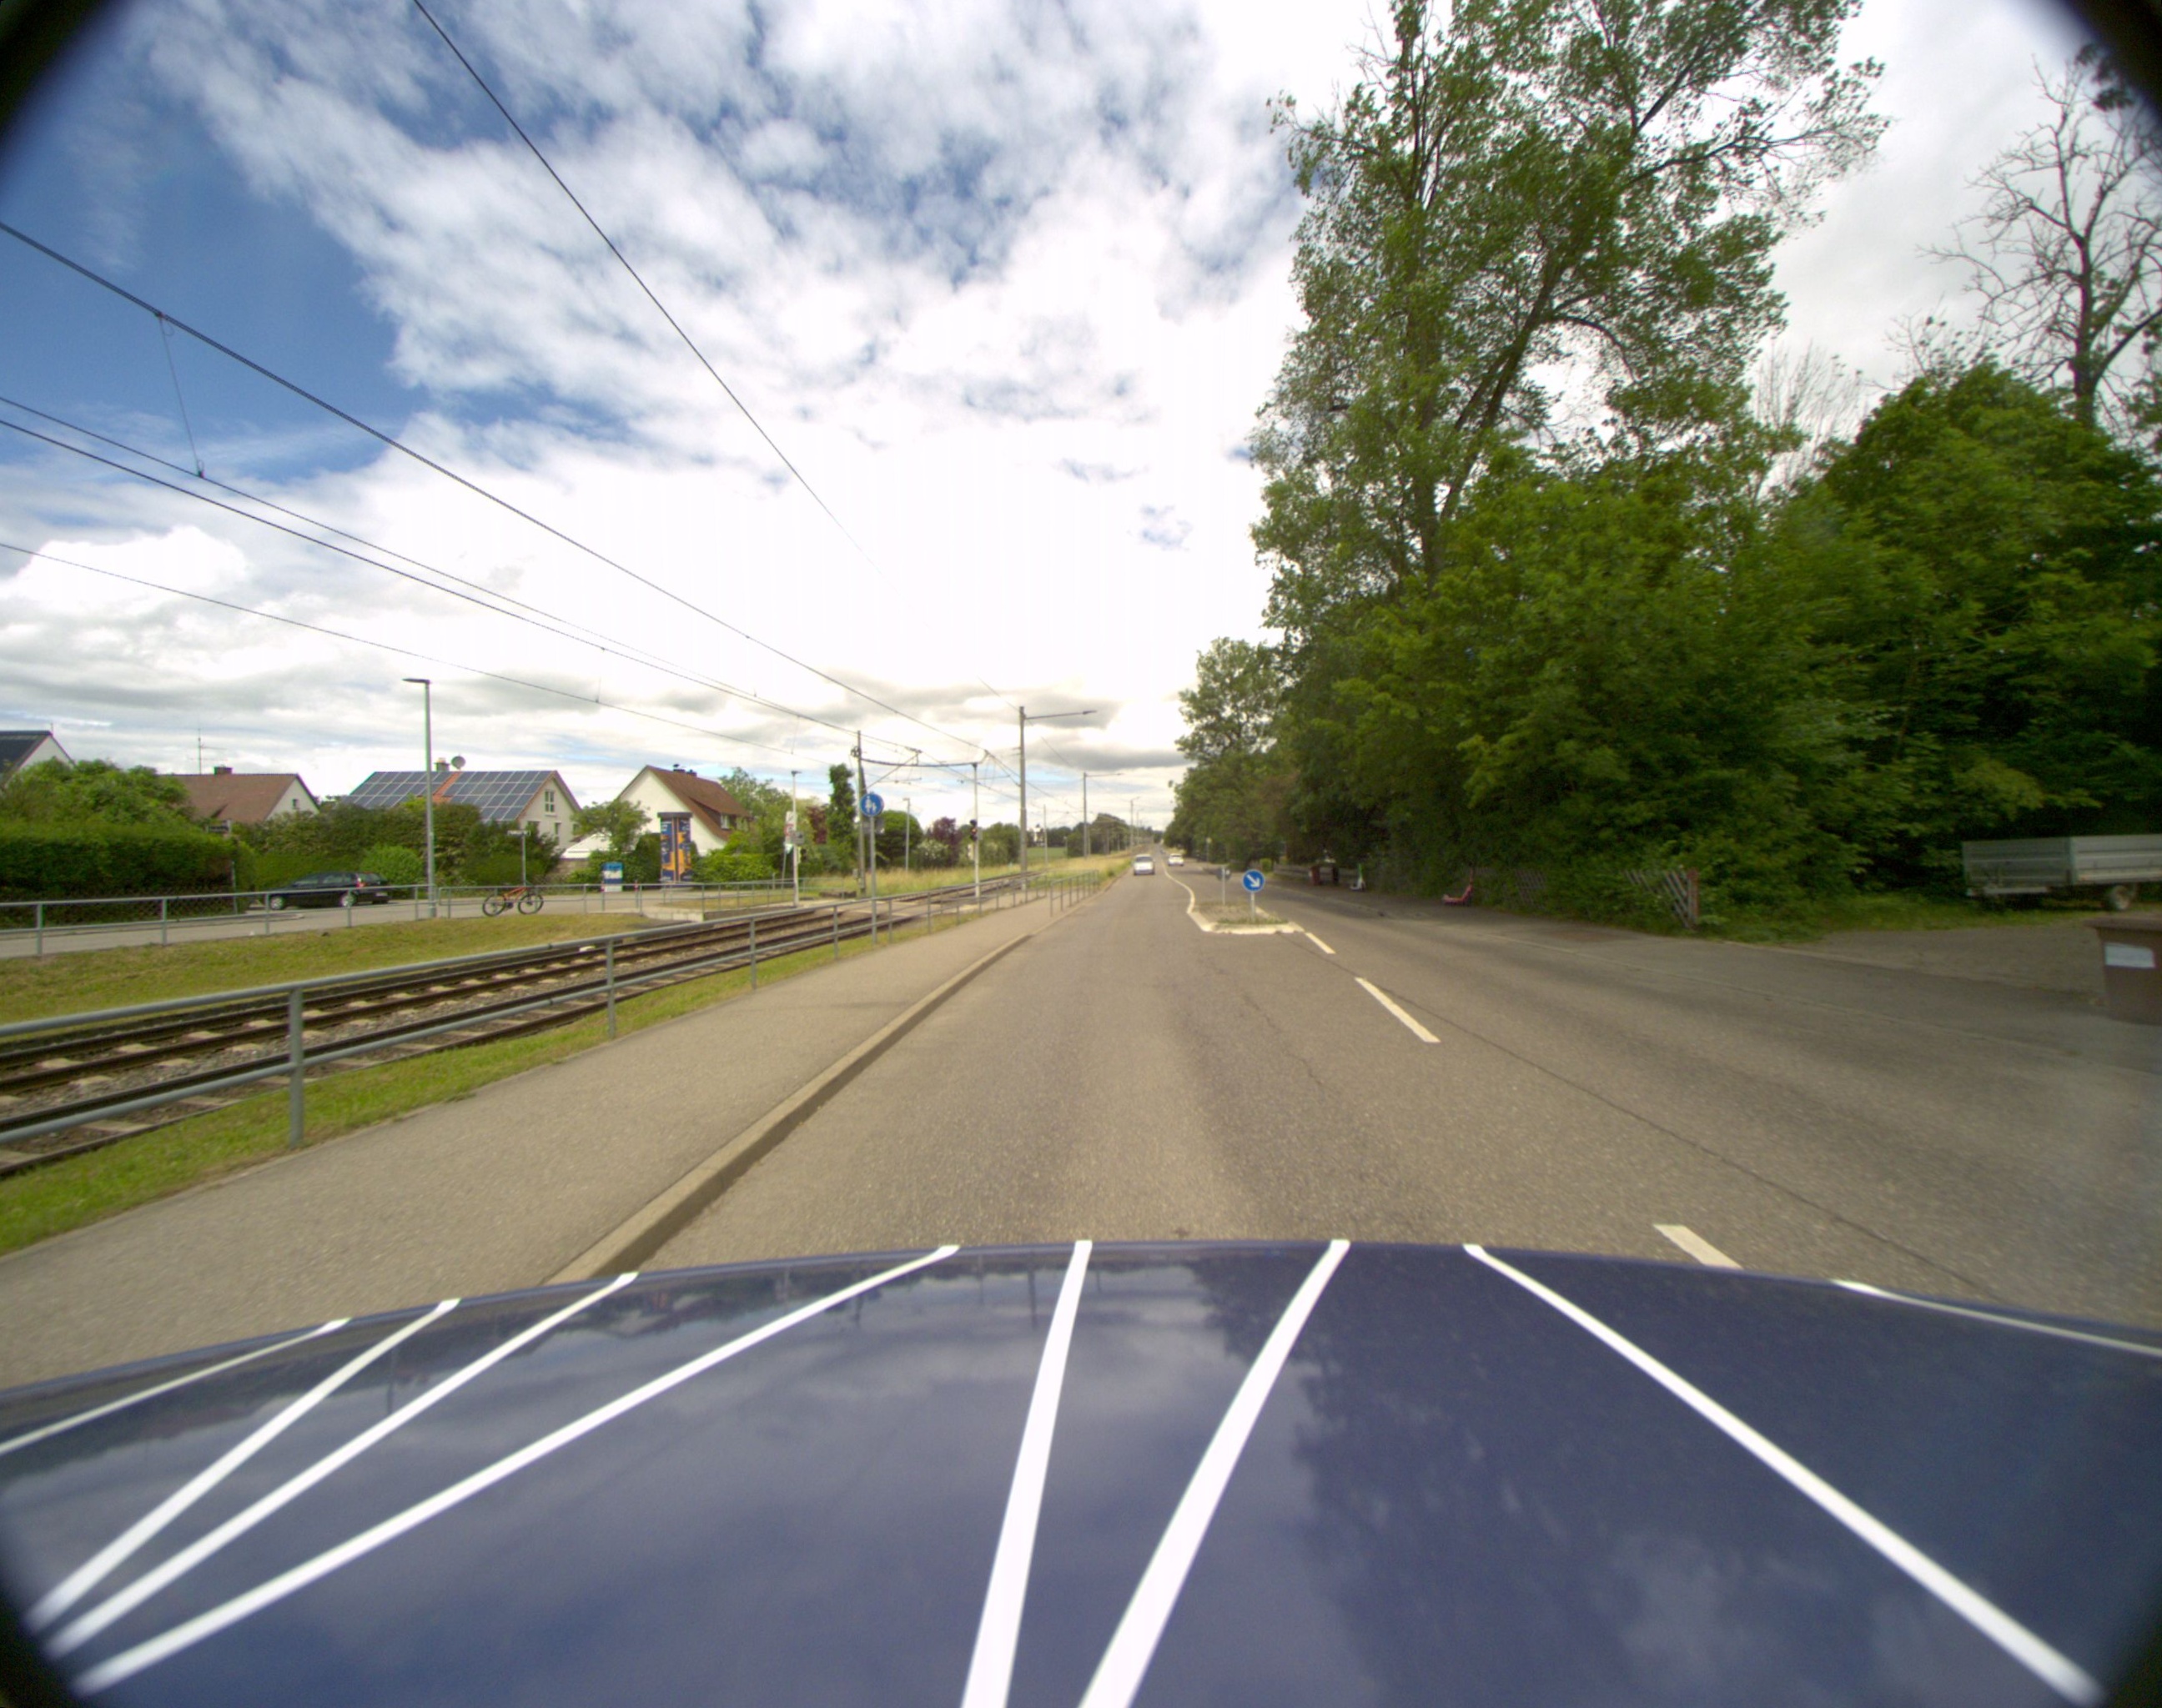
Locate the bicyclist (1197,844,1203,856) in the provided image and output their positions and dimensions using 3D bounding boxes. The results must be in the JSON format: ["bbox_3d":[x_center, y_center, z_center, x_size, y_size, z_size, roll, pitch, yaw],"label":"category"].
[{"bbox_3d":[16.489,-0.551,105.082,0.780,1.540,0.870,-1,1,6],"label":"bicyclist"}]

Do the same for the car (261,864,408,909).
[{"bbox_3d":[-29.421,1.252,30.054,3.731,1.614,1.824,-1,1,-8],"label":"car"}]

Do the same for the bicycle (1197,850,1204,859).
[{"bbox_3d":[16.508,0.032,104.754,0.756,1.219,2.309,0,1,6],"label":"bicycle"}]

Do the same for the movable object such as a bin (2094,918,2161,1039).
[{"bbox_3d":[9.062,1.044,6.420,0.464,0.925,0.429,-5,2,-11],"label":"movable object such as a bin"}]

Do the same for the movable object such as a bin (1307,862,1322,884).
[{"bbox_3d":[10.439,0.836,33.968,0.514,0.939,0.569,-2,1,5],"label":"movable object such as a bin"}]

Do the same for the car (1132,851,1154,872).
[{"bbox_3d":[5.001,0.565,60.920,1.642,1.510,3.870,-3,1,6],"label":"car"}]

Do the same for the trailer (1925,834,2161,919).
[{"bbox_3d":[18.773,0.392,14.746,3.519,1.434,1.732,-2,1,-14],"label":"trailer"}]

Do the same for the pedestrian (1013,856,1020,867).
[{"bbox_3d":[-8.732,0.987,102.699,0.598,1.422,0.667,-3,1,31],"label":"pedestrian"}]

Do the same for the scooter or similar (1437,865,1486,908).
[{"bbox_3d":[10.096,0.846,20.205,0.479,1.074,1.212,-3,1,-13],"label":"scooter or similar"}]

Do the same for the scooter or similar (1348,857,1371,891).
[{"bbox_3d":[10.427,0.729,28.453,0.409,1.192,1.640,-1,1,7],"label":"scooter or similar"}]

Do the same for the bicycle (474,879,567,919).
[{"bbox_3d":[-16.277,1.273,22.158,0.539,1.039,2.541,3,0,7],"label":"bicycle"}]

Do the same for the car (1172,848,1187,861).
[{"bbox_3d":[11.660,0.031,90.129,1.697,1.422,3.788,1,1,7],"label":"car"}]
